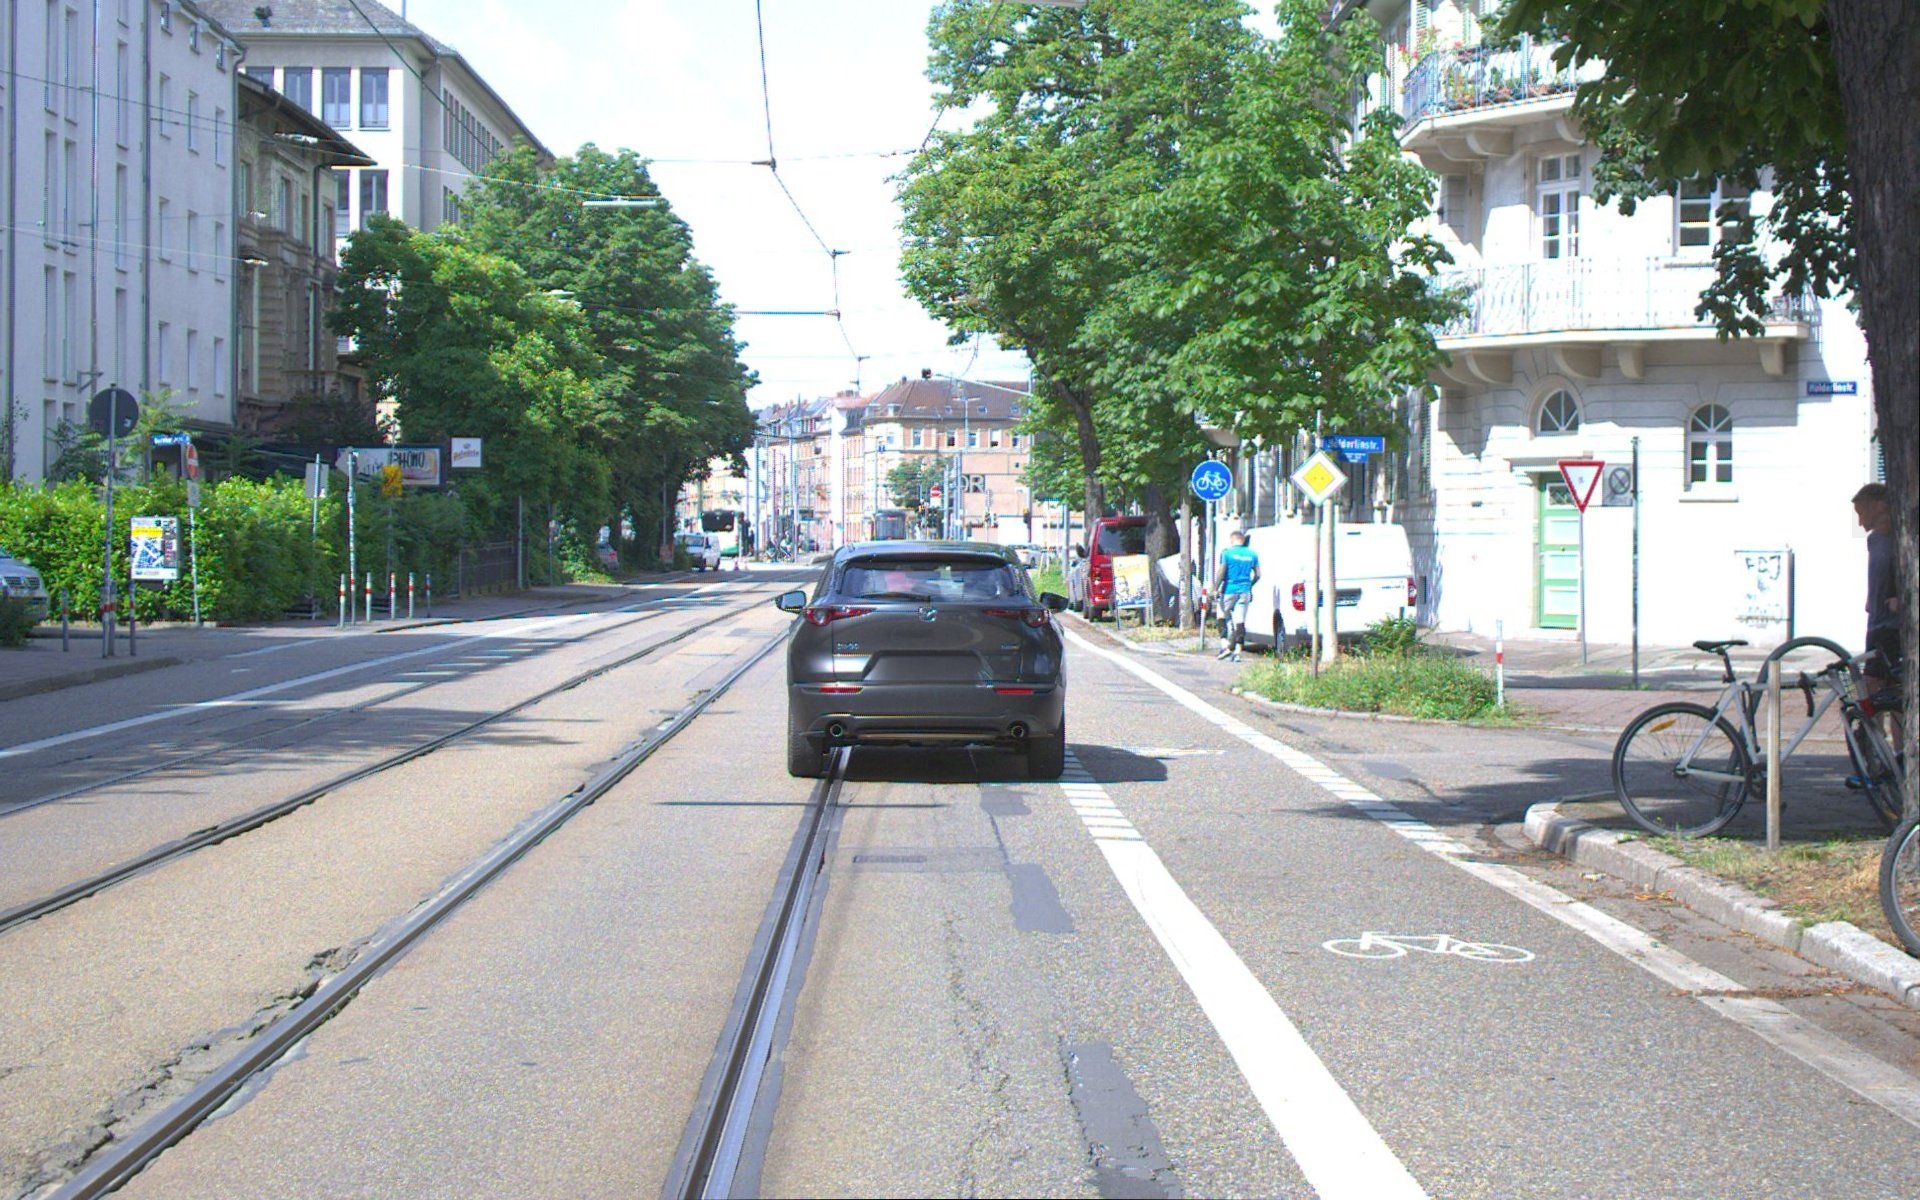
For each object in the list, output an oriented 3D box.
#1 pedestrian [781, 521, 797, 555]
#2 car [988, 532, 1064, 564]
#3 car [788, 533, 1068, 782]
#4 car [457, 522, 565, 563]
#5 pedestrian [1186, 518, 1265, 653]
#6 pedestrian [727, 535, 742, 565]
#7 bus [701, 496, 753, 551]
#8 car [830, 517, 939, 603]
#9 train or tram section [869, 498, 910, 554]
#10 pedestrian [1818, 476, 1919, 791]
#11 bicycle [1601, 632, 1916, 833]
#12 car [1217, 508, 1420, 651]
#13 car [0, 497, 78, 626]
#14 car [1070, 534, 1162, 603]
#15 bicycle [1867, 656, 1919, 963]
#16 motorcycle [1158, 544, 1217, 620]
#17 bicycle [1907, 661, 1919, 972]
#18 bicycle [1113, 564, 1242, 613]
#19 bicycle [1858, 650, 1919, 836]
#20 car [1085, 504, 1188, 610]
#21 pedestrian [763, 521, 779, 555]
[{"bbox_3d":[-10.142,-3.655,203.858,0.884,2.007,0.618,0,1,-4],"label":"pedestrian"},{"bbox_3d":[3.666,-2.891,191.078,3.805,1.612,1.638,2,1,-18],"label":"car"},{"bbox_3d":[-0.237,0.321,23.043,1.720,1.521,3.590,1,1,-1],"label":"car"},{"bbox_3d":[-16.273,-2.092,124.800,3.746,1.283,1.611,3,1,-5],"label":"car"},{"bbox_3d":[3.657,-0.208,47.279,0.816,1.829,0.961,1,2,20],"label":"pedestrian"},{"bbox_3d":[-11.783,-2.611,179.502,0.751,1.505,0.824,0,1,-5],"label":"pedestrian"},{"bbox_3d":[-15.343,-5.025,225.507,2.688,3.409,11.020,3,1,-7],"label":"bus"},{"bbox_3d":[-1.468,-0.791,67.028,1.993,1.523,4.000,3,1,-1],"label":"car"},{"bbox_3d":[-4.805,-5.093,235.995,2.571,3.759,13.027,0,1,0],"label":"train or tram section"},{"bbox_3d":[5.532,0.200,20.438,0.610,1.829,0.879,0,-1,-3],"label":"pedestrian"},{"bbox_3d":[3.943,0.650,17.000,1.491,0.980,0.259,0,1,1],"label":"bicycle"},{"bbox_3d":[5.068,-0.345,49.257,1.786,1.932,4.992,0,1,-7],"label":"car"},{"bbox_3d":[-16.753,-0.660,55.291,4.667,2.007,2.044,1,1,21],"label":"car"},{"bbox_3d":[3.312,-0.686,73.544,1.720,1.419,3.590,1,1,-1],"label":"car"},{"bbox_3d":[4.260,0.753,12.304,1.903,1.068,0.402,1,1,0],"label":"bicycle"},{"bbox_3d":[3.913,-0.332,59.339,0.794,1.267,2.423,1,1,-1],"label":"motorcycle"},{"bbox_3d":[4.278,0.764,11.845,1.903,1.068,0.402,1,1,0],"label":"bicycle"},{"bbox_3d":[3.935,-0.205,62.317,2.275,0.858,0.672,1,1,-2],"label":"bicycle"},{"bbox_3d":[4.890,0.720,16.839,0.258,0.897,1.773,0,1,-9],"label":"bicycle"},{"bbox_3d":[3.345,-0.840,65.763,1.720,1.962,4.207,1,1,0],"label":"car"},{"bbox_3d":[-11.200,-3.674,203.912,0.884,2.007,0.618,0,1,-4],"label":"pedestrian"}]
